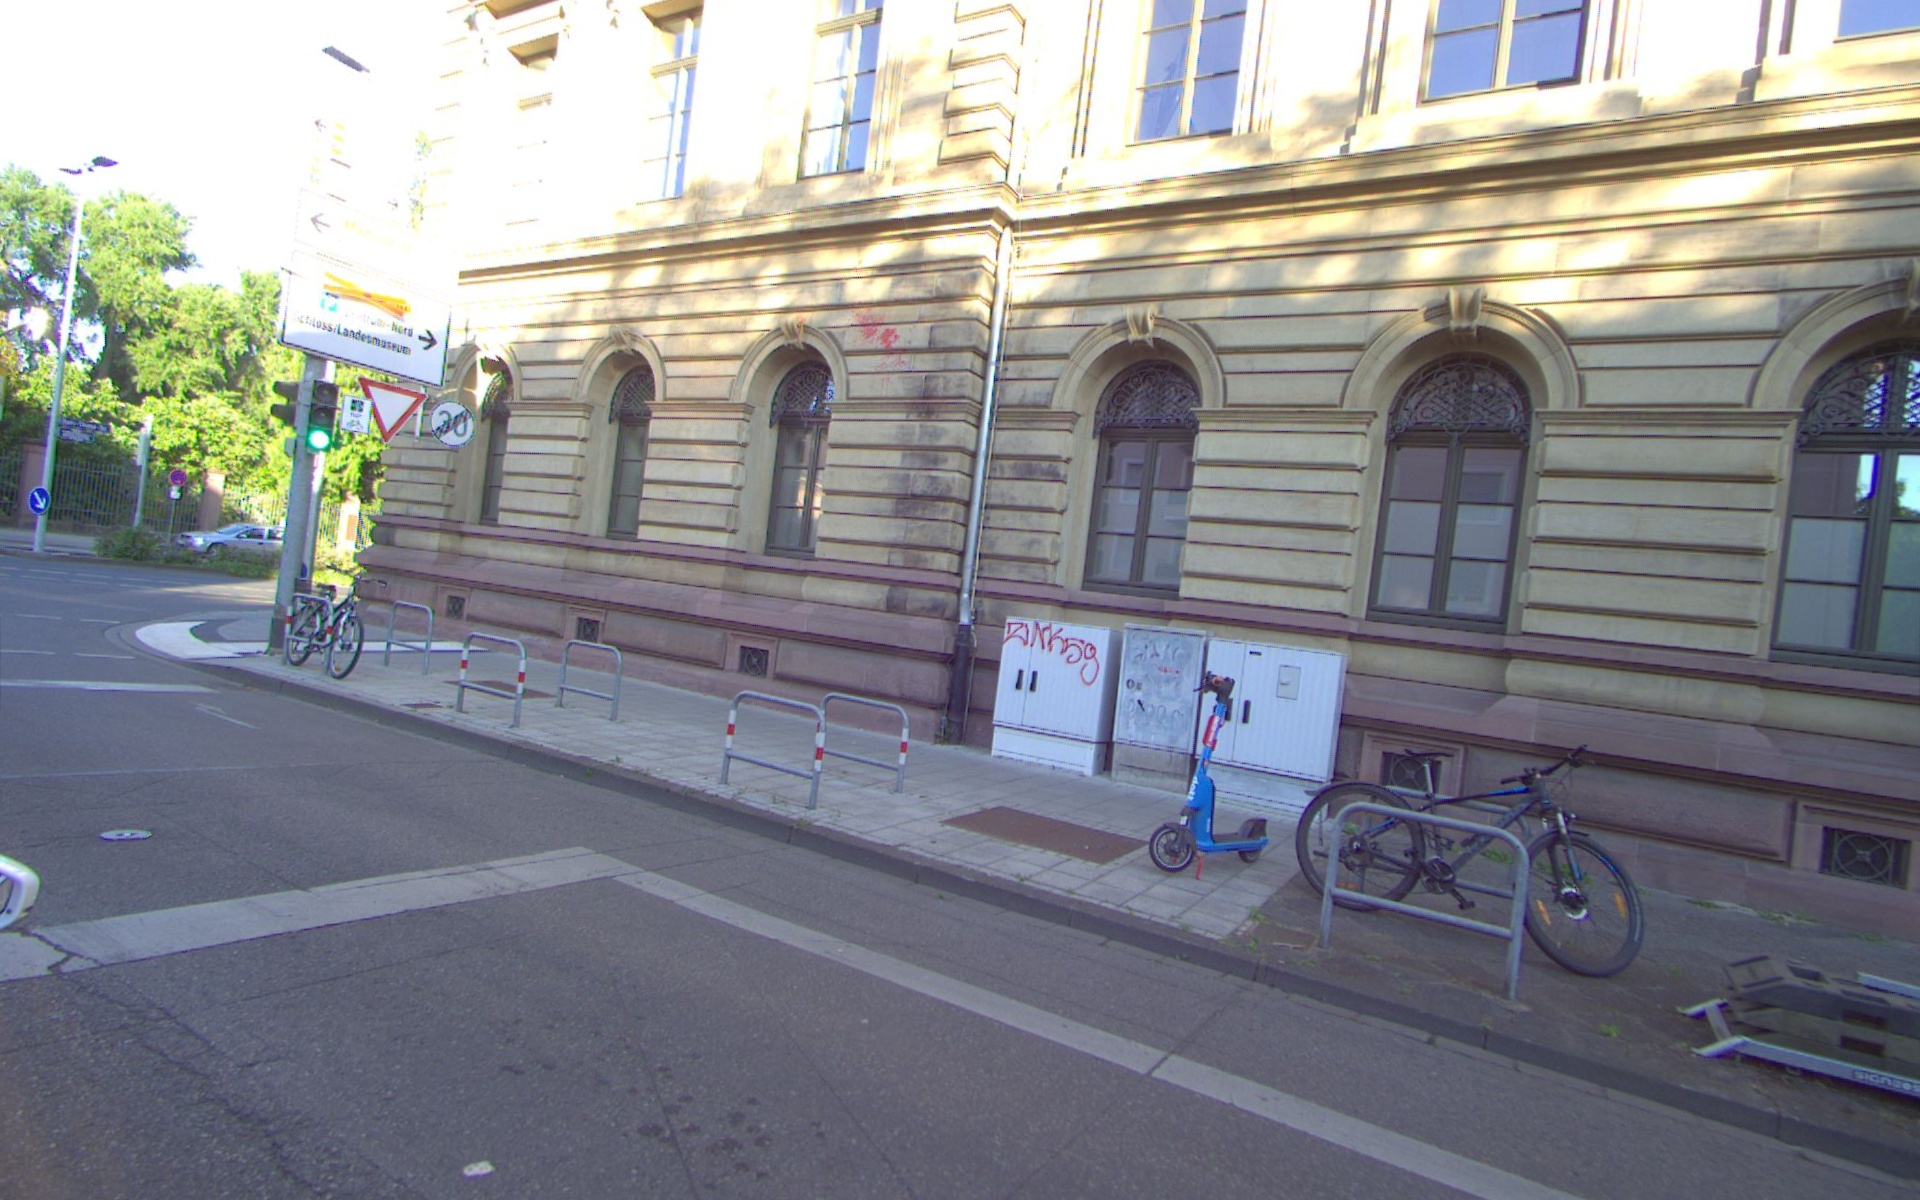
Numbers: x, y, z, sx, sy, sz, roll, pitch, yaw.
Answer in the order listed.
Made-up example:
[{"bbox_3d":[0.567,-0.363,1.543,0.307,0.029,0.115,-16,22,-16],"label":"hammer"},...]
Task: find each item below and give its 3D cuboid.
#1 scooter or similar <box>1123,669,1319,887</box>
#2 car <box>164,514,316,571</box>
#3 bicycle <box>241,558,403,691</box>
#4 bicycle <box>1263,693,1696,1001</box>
[{"bbox_3d":[1.687,1.095,6.455,1.125,1.211,0.577,4,2,-41],"label":"scooter or similar"},{"bbox_3d":[-26.585,-2.092,37.290,1.685,1.462,4.195,7,-1,27],"label":"car"},{"bbox_3d":[-6.682,0.238,10.503,1.889,1.203,0.583,5,-1,32],"label":"bicycle"},{"bbox_3d":[2.825,1.256,5.633,1.912,1.149,0.827,7,3,32],"label":"bicycle"}]
